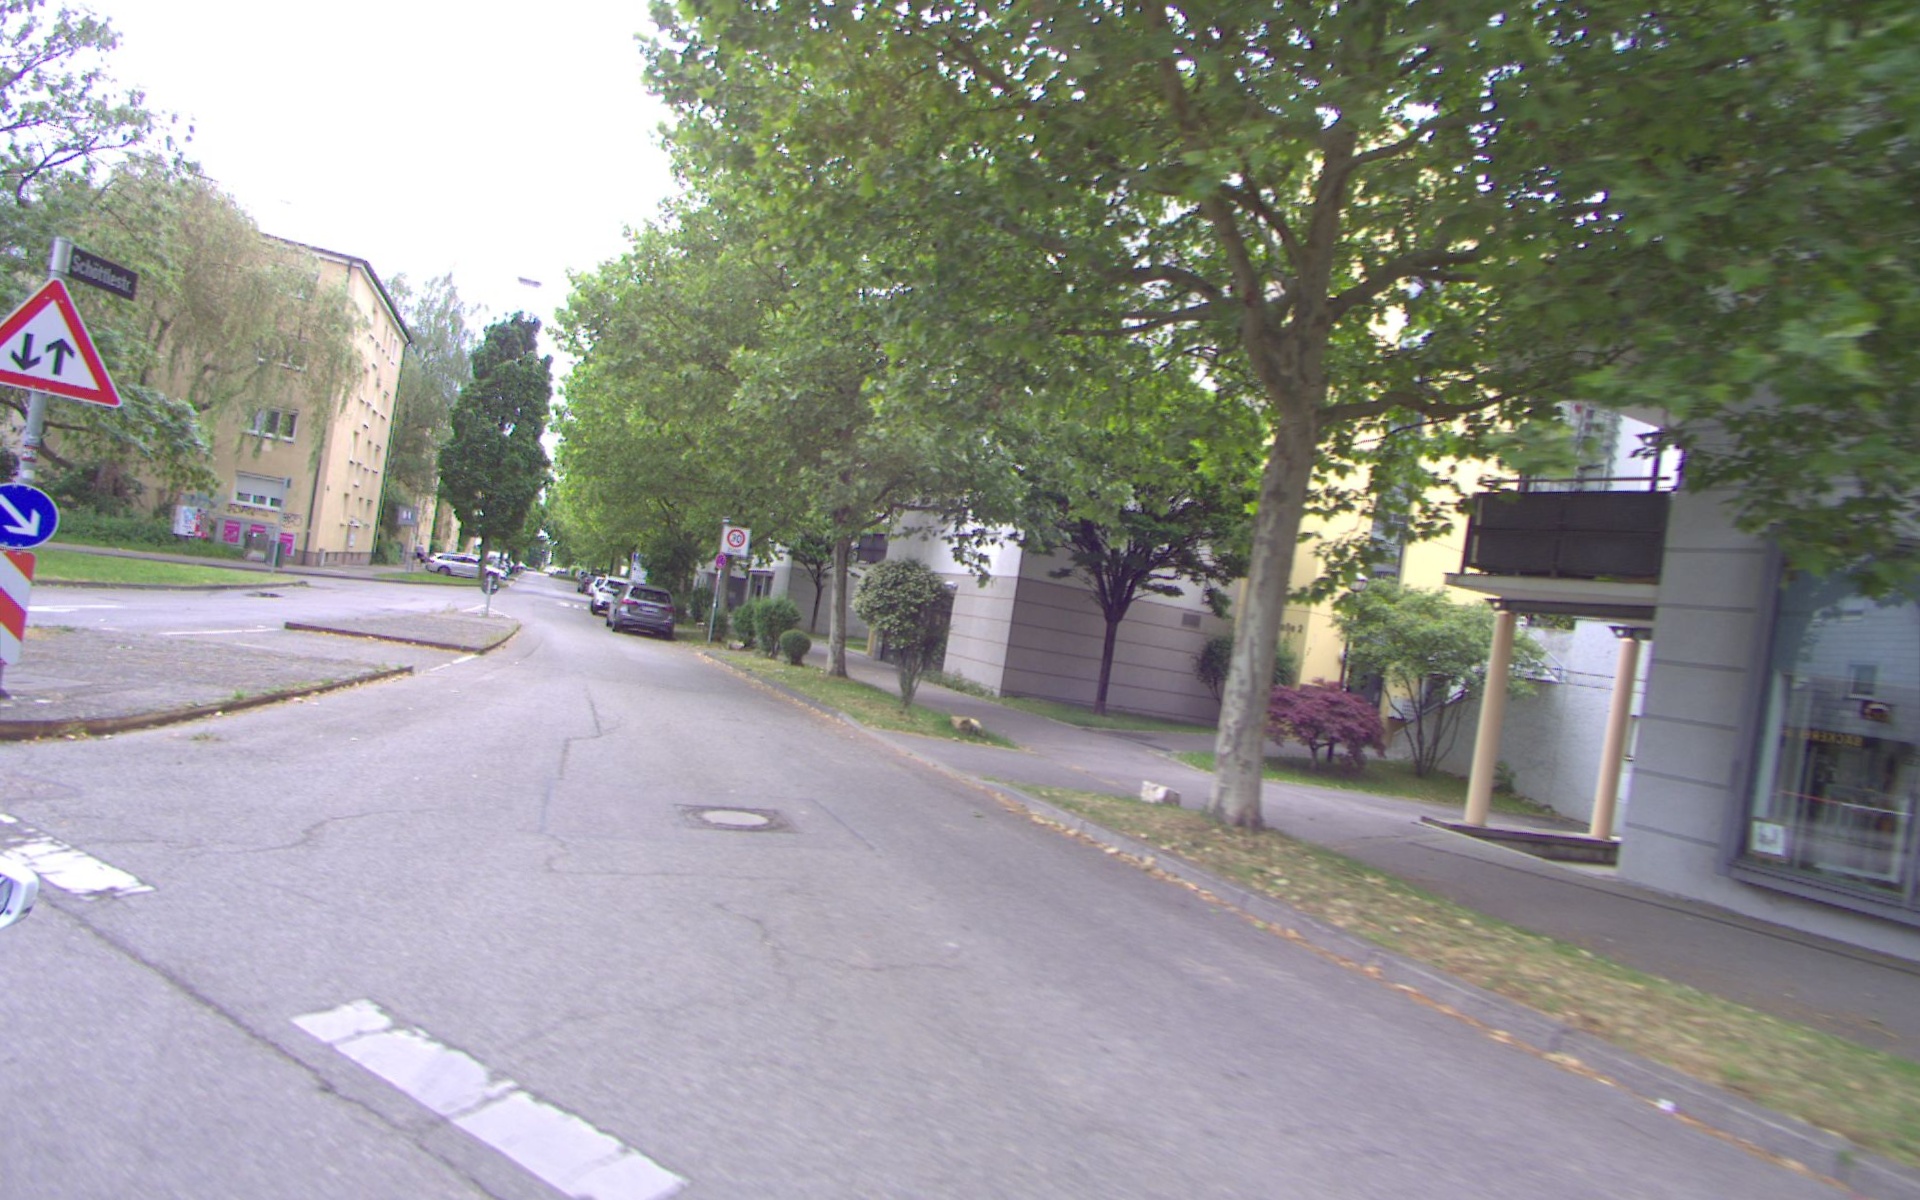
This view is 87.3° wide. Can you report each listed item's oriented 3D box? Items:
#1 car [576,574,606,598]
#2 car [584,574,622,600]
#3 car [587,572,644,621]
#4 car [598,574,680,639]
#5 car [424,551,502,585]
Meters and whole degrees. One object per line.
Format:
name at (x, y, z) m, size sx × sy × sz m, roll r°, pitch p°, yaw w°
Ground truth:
car at (-28.472, -1.079, 77.591) m, size 1.767 × 1.463 × 4.067 m, roll 11°, pitch -3°, yaw -23°
car at (-25.547, -0.936, 71.950) m, size 1.771 × 1.502 × 3.609 m, roll 12°, pitch -3°, yaw -28°
car at (-14.263, -0.153, 41.505) m, size 1.762 × 1.615 × 4.228 m, roll 10°, pitch -3°, yaw -22°
car at (-10.139, 0.167, 31.607) m, size 1.859 × 1.585 × 3.998 m, roll 11°, pitch -3°, yaw -23°
car at (-30.649, -1.976, 62.212) m, size 4.153 × 1.595 × 1.807 m, roll 6°, pitch -1°, yaw -25°
